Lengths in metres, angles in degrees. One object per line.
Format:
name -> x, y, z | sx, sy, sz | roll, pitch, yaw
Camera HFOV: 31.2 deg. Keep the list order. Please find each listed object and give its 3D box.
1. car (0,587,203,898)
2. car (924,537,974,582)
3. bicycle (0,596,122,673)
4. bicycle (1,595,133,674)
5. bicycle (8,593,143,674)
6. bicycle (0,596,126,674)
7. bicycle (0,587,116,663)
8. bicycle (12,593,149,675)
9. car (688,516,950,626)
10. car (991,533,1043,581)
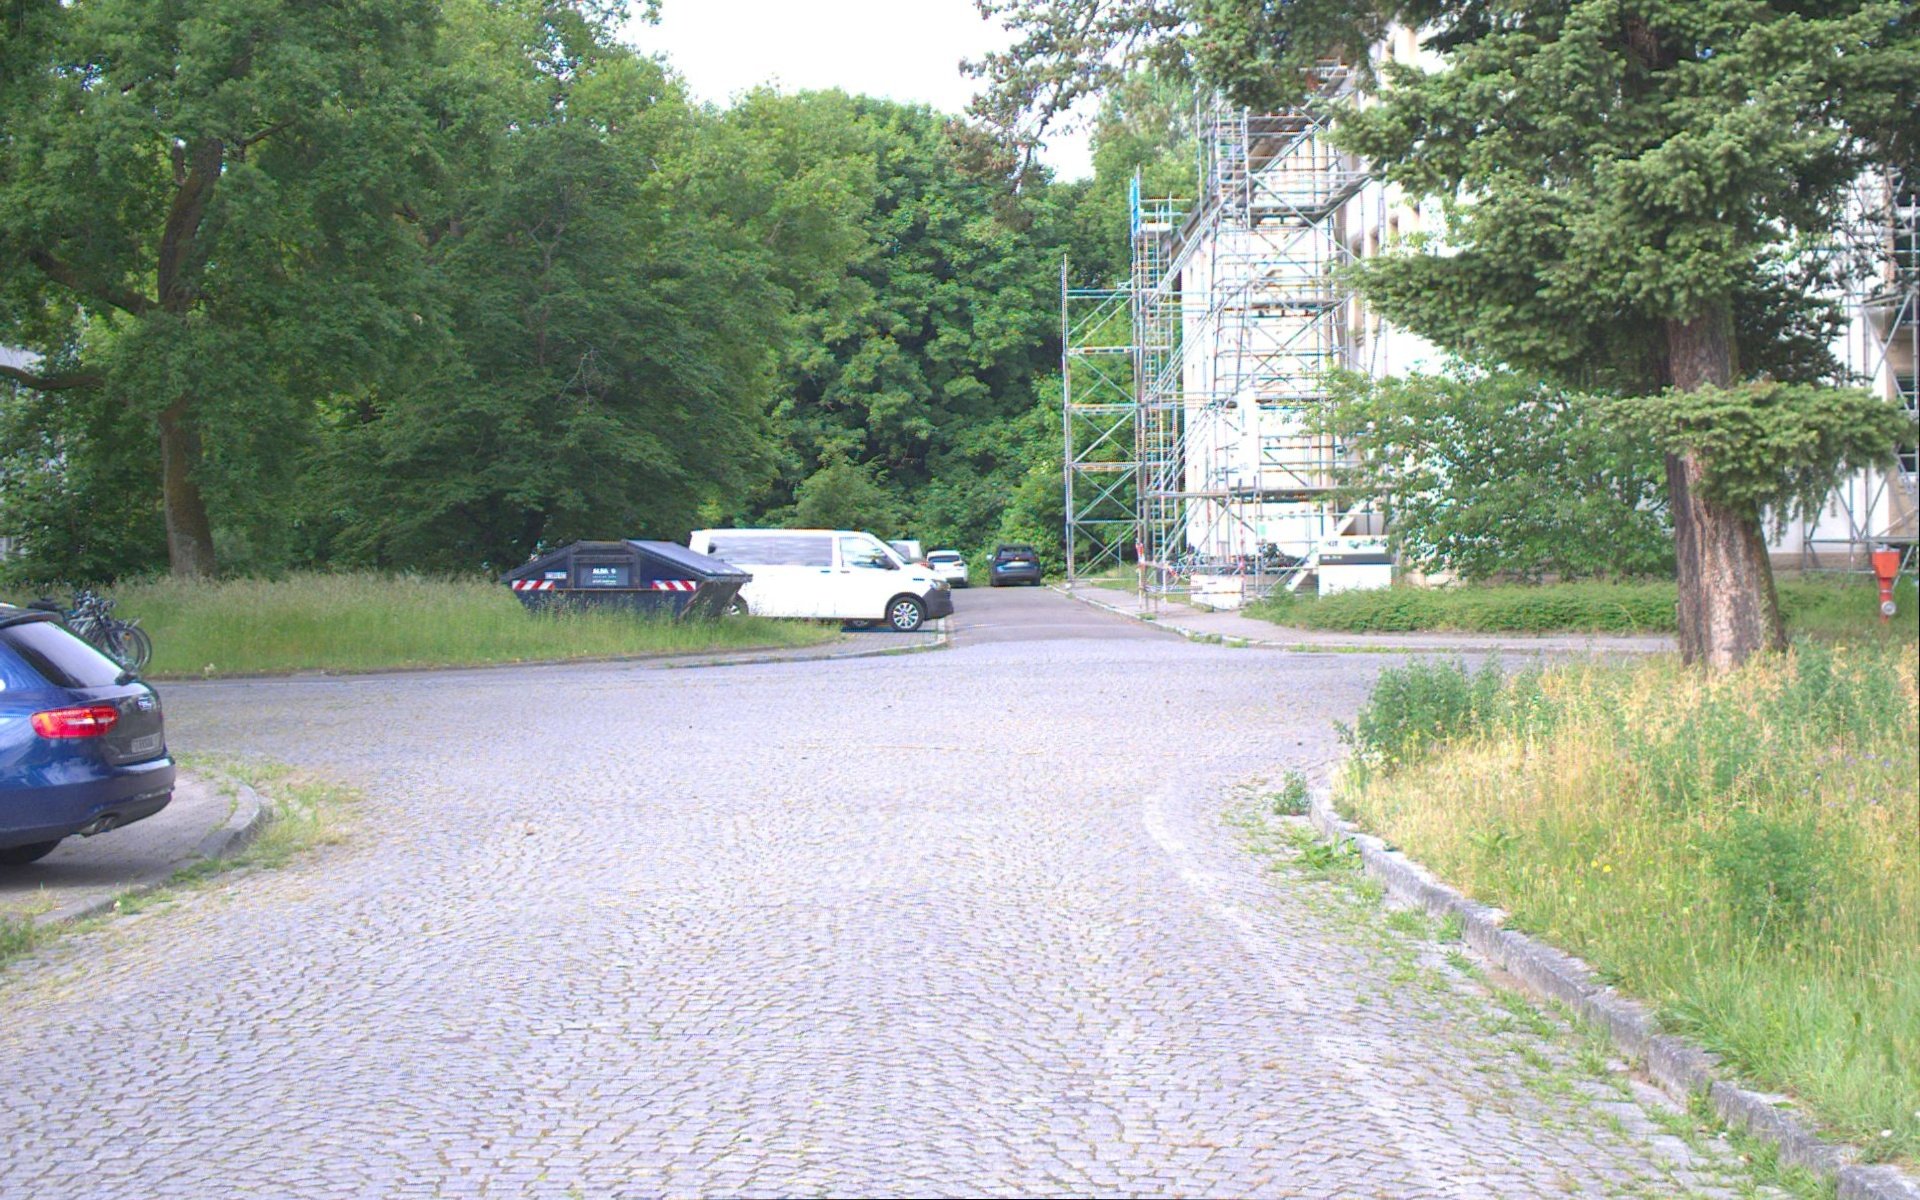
car -> -6.087, 0.701, 17.459 | 4.072, 1.462, 1.625 | -1, 1, 4
car -> -0.445, -1.538, 132.454 | 1.790, 1.630, 4.061 | -1, 0, -2
bicycle -> -12.797, 0.494, 48.771 | 1.701, 1.050, 0.574 | -1, -1, -20
bicycle -> -12.320, 0.473, 47.434 | 1.701, 1.050, 0.574 | -1, -1, -20
bicycle -> -11.978, 0.457, 46.538 | 1.701, 1.050, 0.574 | -1, -1, -20
bicycle -> -12.593, 0.485, 48.160 | 1.701, 1.050, 0.574 | -1, -1, -20
bicycle -> -13.092, 0.363, 49.627 | 1.701, 1.050, 0.574 | -1, -1, -20
bicycle -> -11.762, 0.448, 45.975 | 1.701, 1.050, 0.574 | -1, -1, -20
car -> -2.697, -0.548, 66.415 | 4.978, 2.065, 2.052 | 0, -1, -1
car -> 2.177, -1.639, 132.770 | 1.790, 1.714, 4.061 | -1, 0, -2
